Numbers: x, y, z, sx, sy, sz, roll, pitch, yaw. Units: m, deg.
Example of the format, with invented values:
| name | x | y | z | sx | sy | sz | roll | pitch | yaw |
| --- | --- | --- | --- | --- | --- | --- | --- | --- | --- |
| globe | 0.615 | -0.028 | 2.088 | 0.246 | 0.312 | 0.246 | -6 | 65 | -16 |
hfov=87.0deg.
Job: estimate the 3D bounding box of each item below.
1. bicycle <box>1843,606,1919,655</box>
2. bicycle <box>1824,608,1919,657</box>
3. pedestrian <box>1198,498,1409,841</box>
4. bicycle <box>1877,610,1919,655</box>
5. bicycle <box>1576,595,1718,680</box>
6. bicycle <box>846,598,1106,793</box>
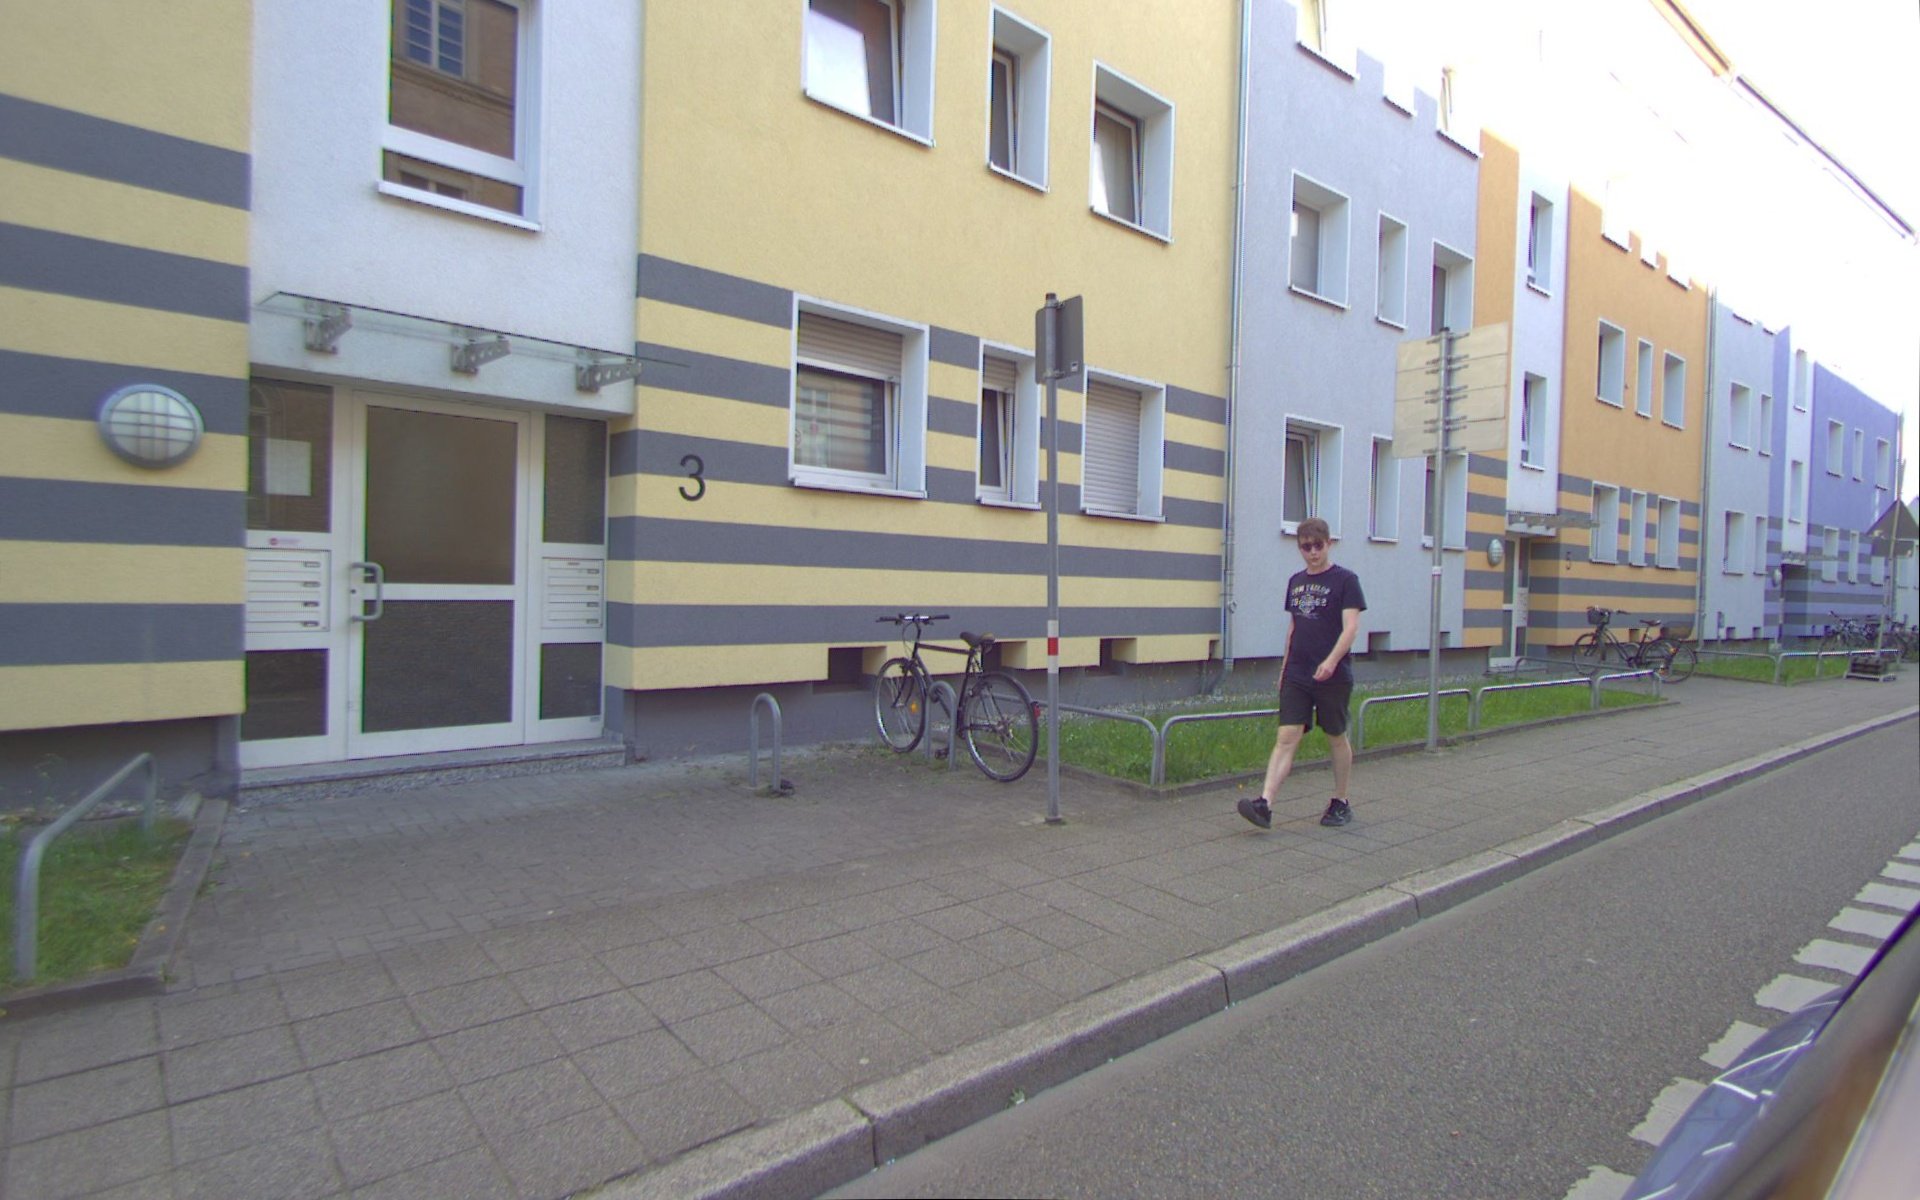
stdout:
| name | x | y | z | sx | sy | sz | roll | pitch | yaw |
| --- | --- | --- | --- | --- | --- | --- | --- | --- | --- |
| bicycle | 23.248 | 0.750 | 25.266 | 0.625 | 1.095 | 1.711 | 1 | 2 | -40 |
| bicycle | 22.279 | 0.778 | 24.671 | 0.624 | 1.058 | 1.711 | 1 | 2 | -39 |
| pedestrian | 1.985 | 0.352 | 5.859 | 0.898 | 1.810 | 0.646 | 1 | 4 | -38 |
| bicycle | 24.166 | 0.840 | 25.341 | 0.625 | 1.048 | 1.709 | 1 | 3 | -42 |
| bicycle | 10.740 | 0.556 | 15.866 | 0.625 | 1.173 | 1.709 | 1 | 3 | -42 |
| bicycle | 0.043 | 0.578 | 7.049 | 0.625 | 1.074 | 1.946 | 1 | 3 | -42 |
